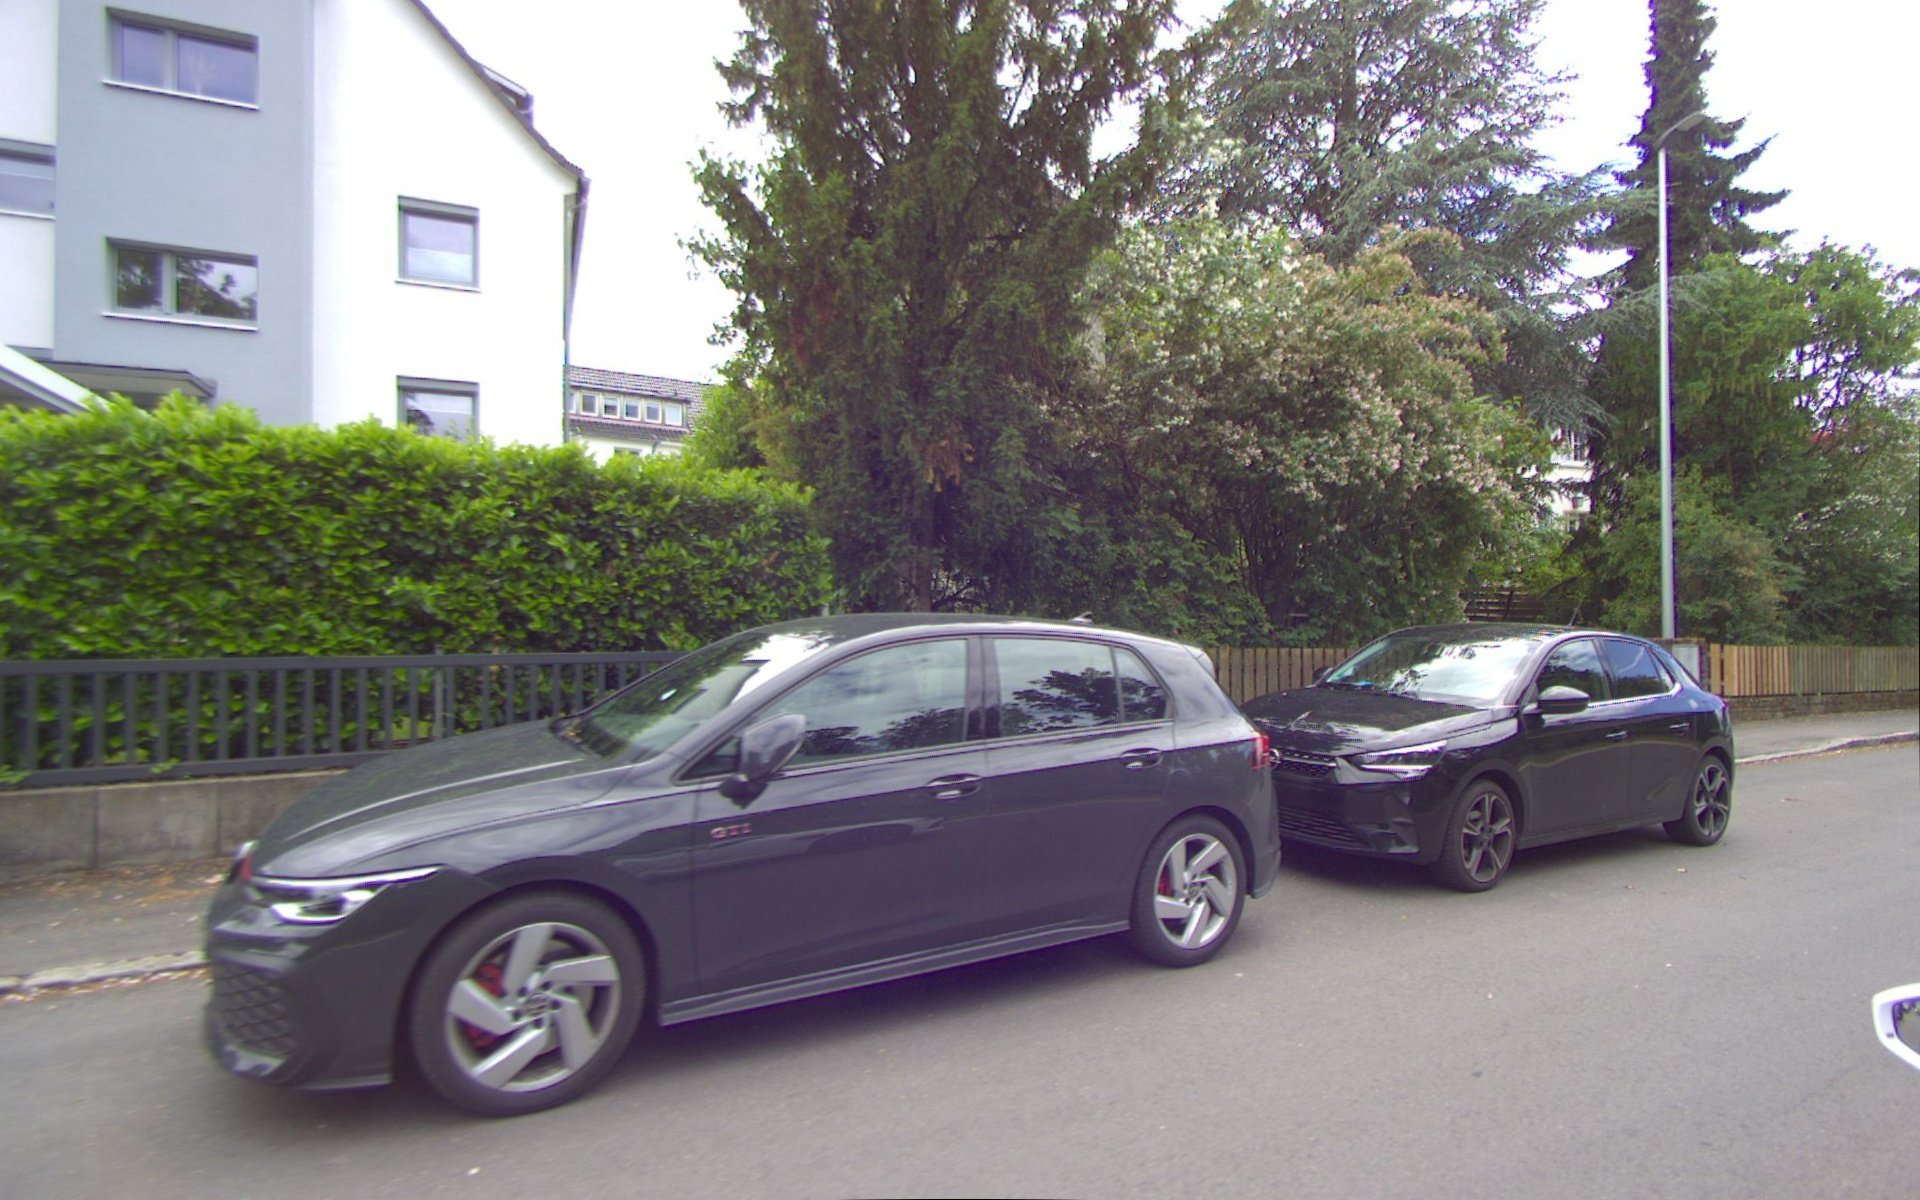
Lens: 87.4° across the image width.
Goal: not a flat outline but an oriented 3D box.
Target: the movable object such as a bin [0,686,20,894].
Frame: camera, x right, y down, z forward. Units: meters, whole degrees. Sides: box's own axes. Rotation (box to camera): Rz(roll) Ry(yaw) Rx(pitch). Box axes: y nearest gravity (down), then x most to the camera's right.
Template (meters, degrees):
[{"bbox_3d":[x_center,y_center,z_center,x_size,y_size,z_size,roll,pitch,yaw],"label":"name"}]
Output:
[{"bbox_3d":[-4.595,0.866,4.325,0.647,0.934,0.627,1,-1,-29],"label":"movable object such as a bin"}]

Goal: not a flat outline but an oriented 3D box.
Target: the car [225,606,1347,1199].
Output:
[{"bbox_3d":[-0.433,0.782,4.220,4.102,1.435,1.698,1,0,-31],"label":"car"}]

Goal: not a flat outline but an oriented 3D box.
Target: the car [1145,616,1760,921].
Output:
[{"bbox_3d":[3.341,0.858,6.606,4.085,1.435,1.698,1,0,-31],"label":"car"}]
